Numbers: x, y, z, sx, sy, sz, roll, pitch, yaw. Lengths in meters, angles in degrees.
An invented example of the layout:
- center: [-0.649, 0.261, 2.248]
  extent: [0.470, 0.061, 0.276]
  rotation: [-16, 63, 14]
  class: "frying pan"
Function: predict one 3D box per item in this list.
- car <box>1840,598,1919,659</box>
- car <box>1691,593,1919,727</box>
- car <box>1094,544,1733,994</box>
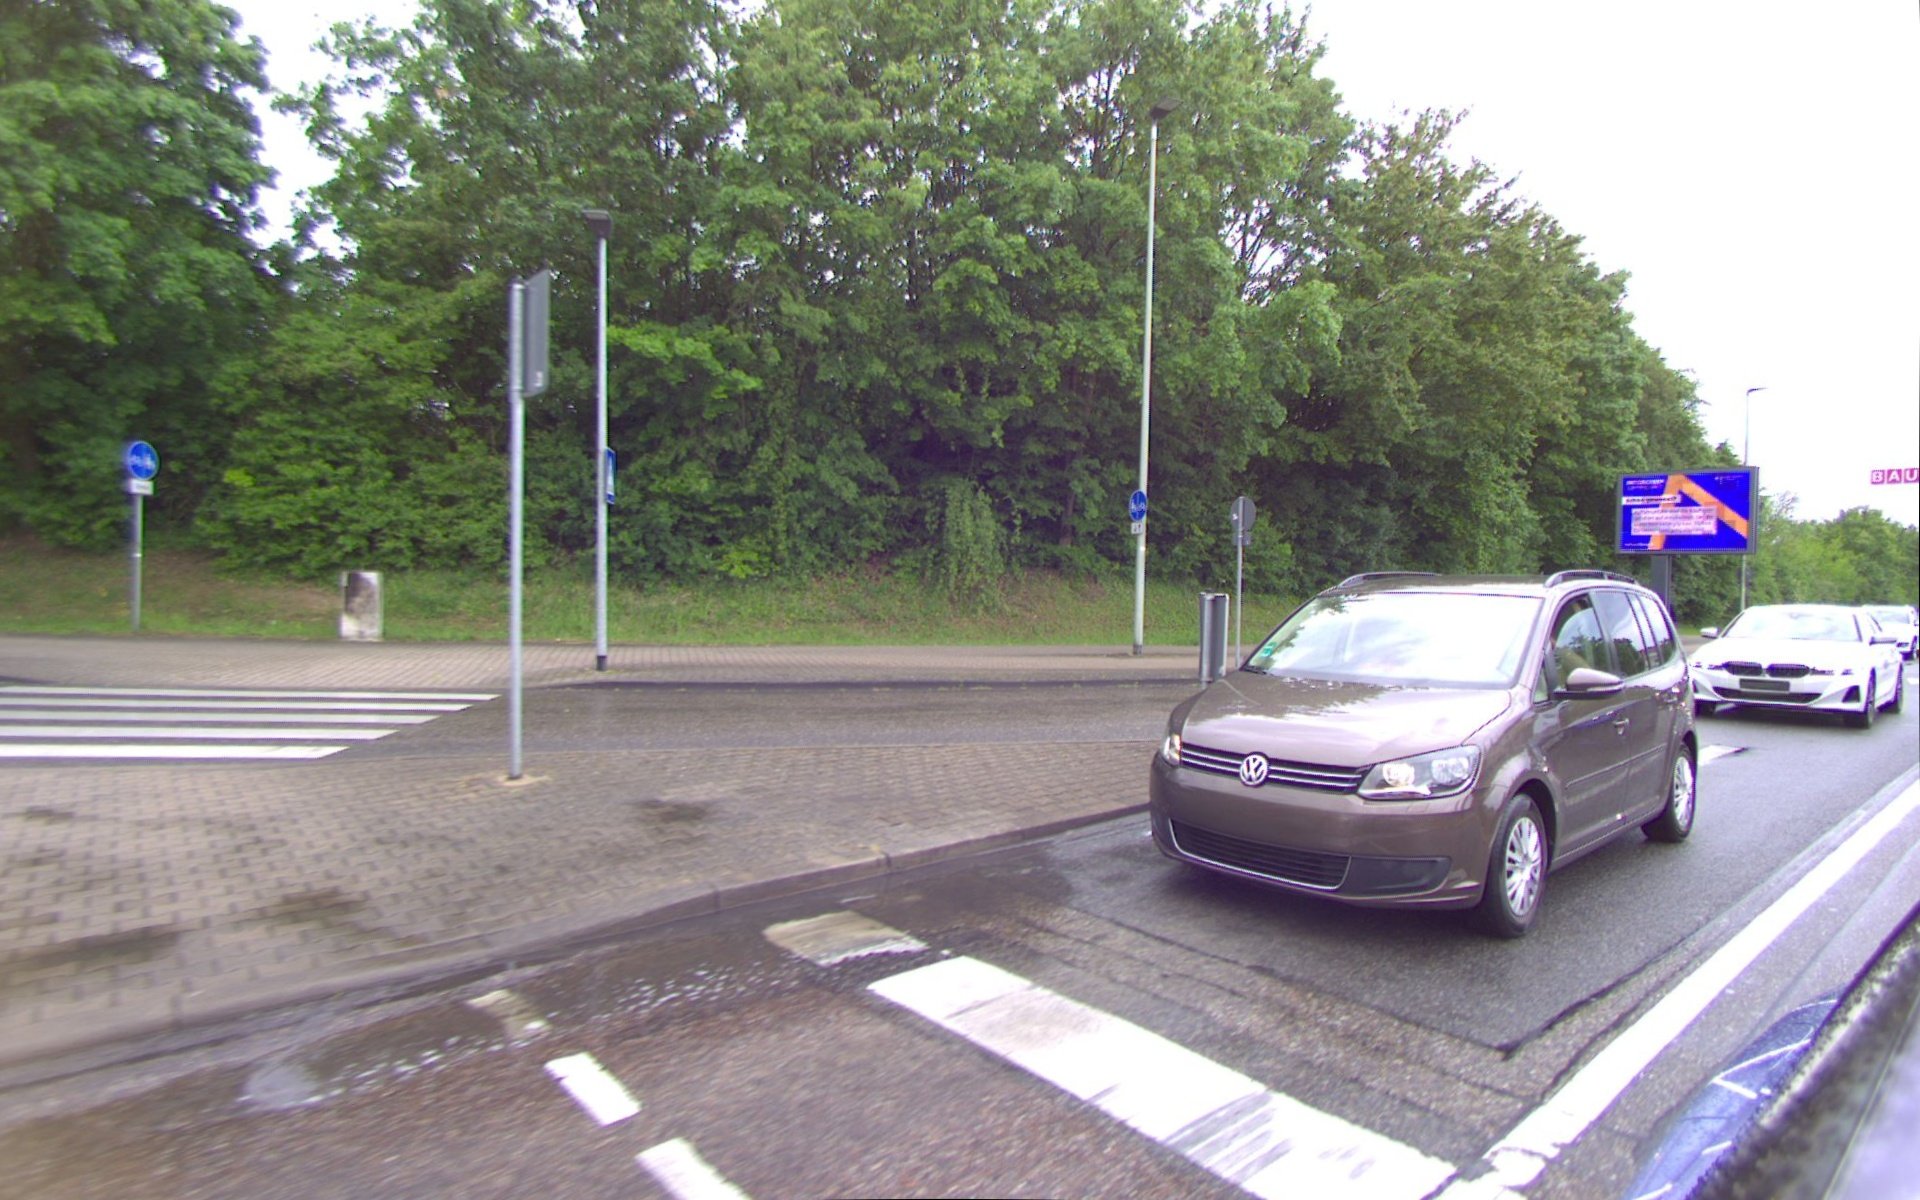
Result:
- center: [29.407, 0.848, 31.850]
  extent: [4.241, 1.749, 1.997]
  rotation: [0, 1, -41]
  class: "car"
- center: [11.428, 0.655, 13.547]
  extent: [4.600, 1.475, 1.782]
  rotation: [0, 1, -42]
  class: "car"
- center: [2.707, 0.593, 5.616]
  extent: [3.910, 1.629, 1.750]
  rotation: [0, 1, -41]
  class: "car"
